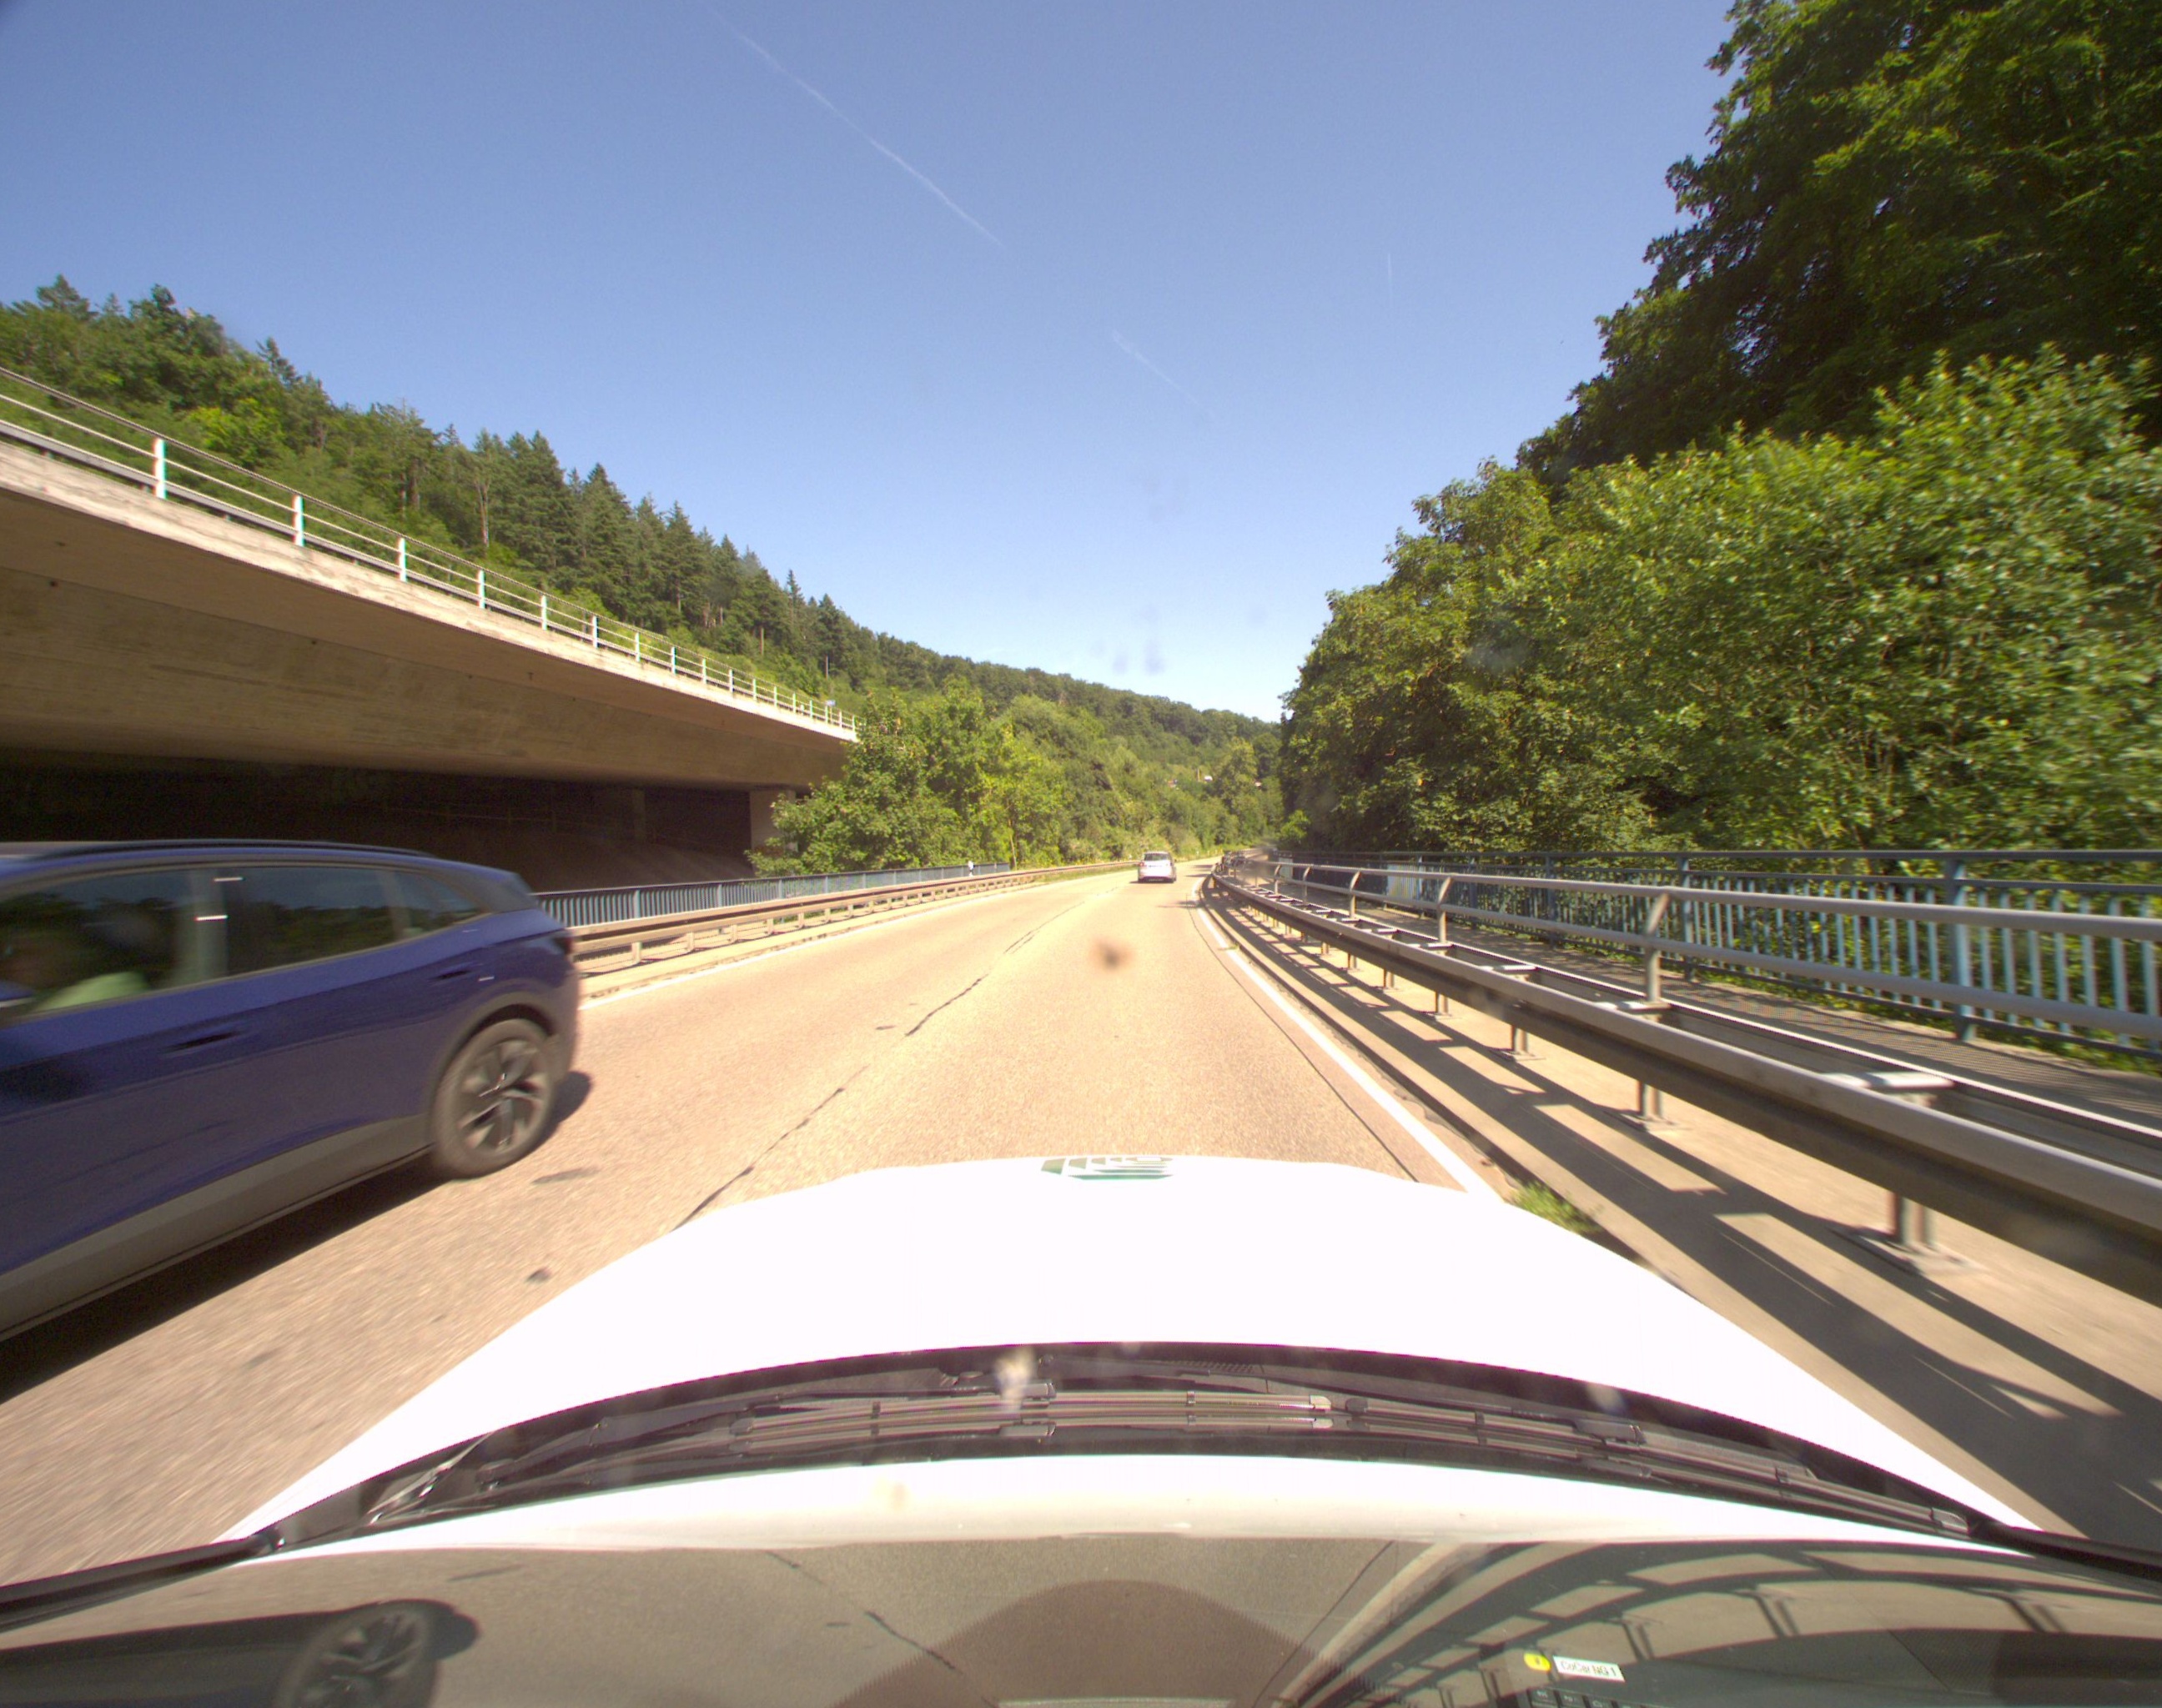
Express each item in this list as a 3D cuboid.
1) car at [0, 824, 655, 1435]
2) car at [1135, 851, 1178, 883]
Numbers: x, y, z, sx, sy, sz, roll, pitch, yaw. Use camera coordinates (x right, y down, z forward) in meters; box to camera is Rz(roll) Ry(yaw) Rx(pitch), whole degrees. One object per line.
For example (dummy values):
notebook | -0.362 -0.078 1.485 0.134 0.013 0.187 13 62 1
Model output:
car | -3.721 0.723 2.882 1.891 1.581 4.557 -1 0 2
car | 3.828 0.629 40.716 1.740 1.520 4.170 -1 0 10
